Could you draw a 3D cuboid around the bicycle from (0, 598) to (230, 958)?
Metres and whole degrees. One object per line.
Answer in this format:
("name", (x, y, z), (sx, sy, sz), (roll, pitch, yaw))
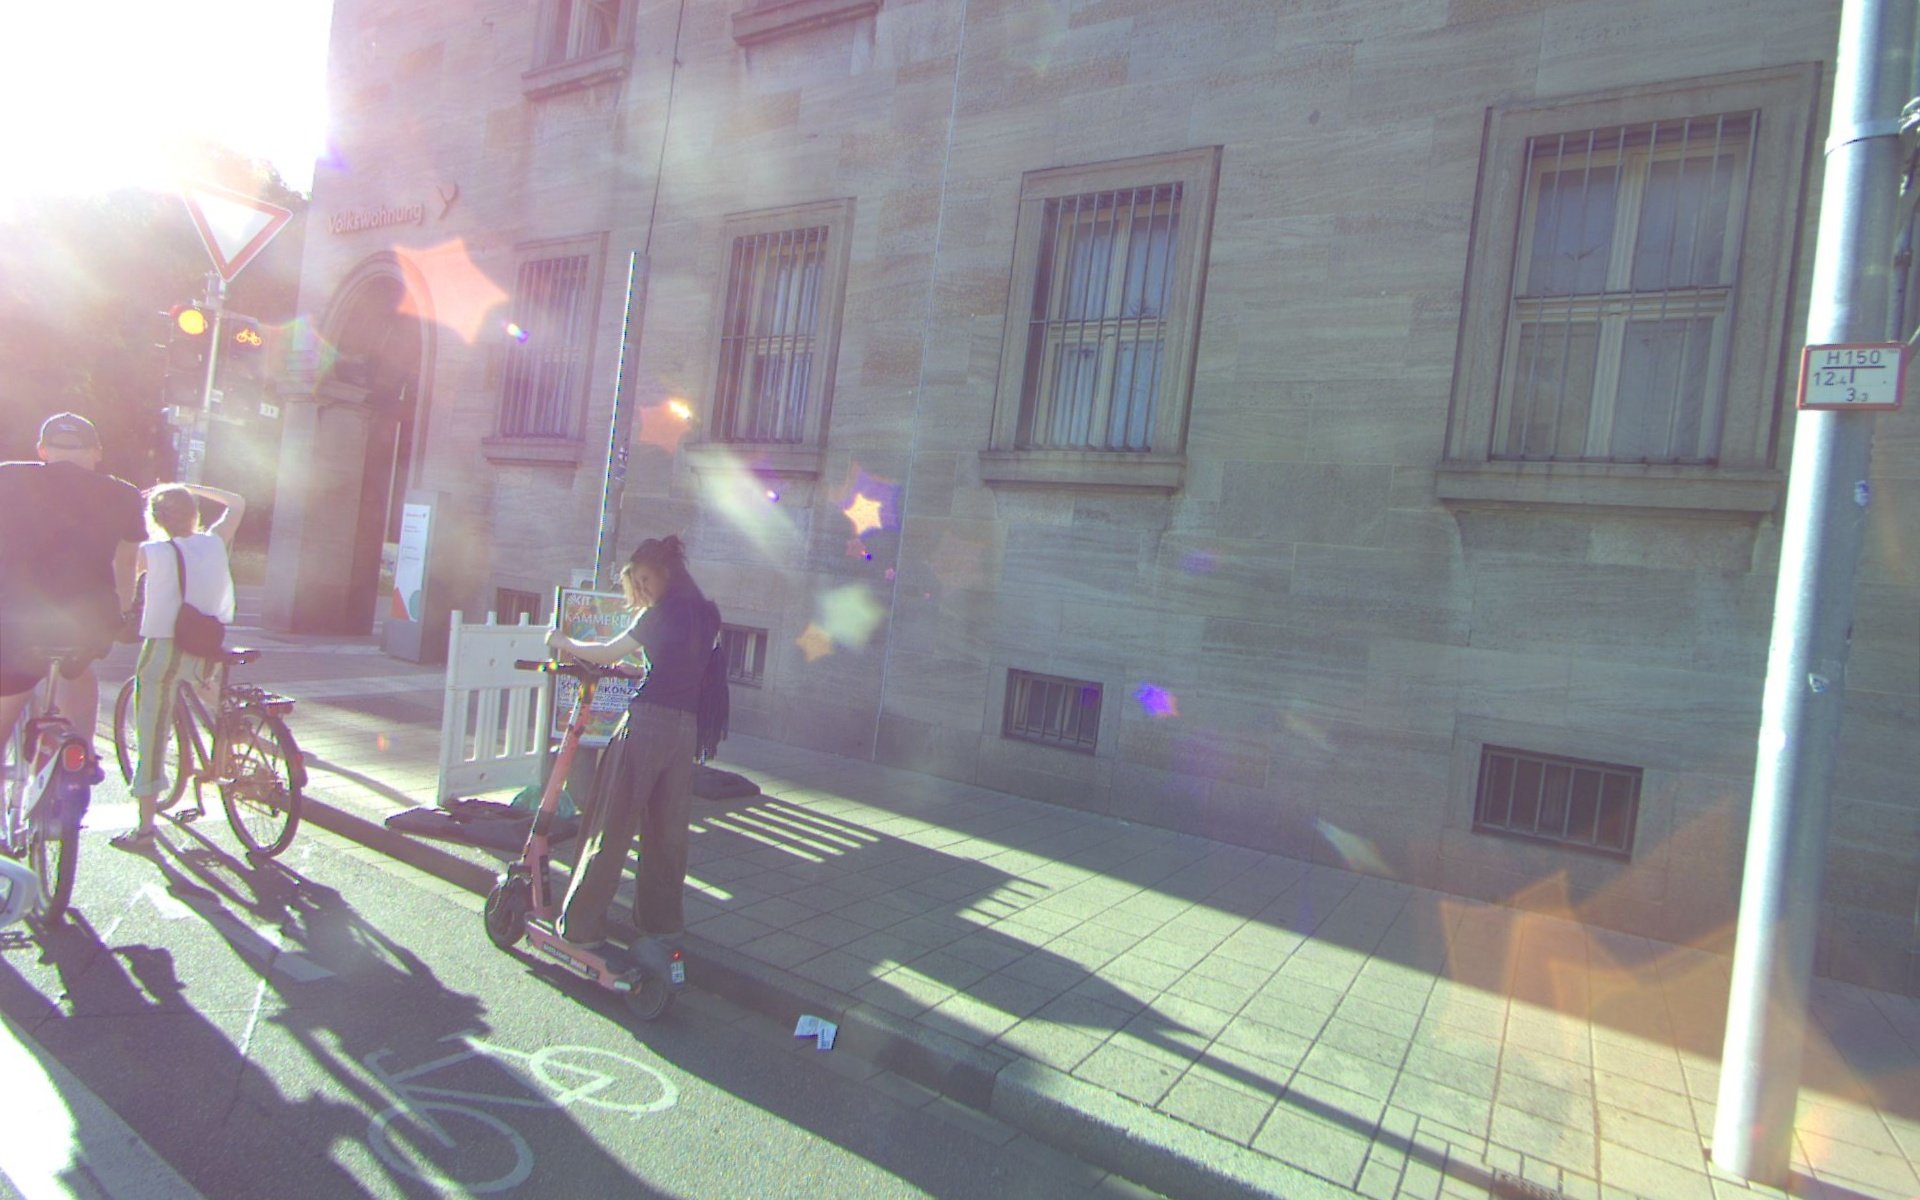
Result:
("bicycle", (-3.718, 0.593, 3.988), (1.717, 1.057, 0.624), (7, 0, 31))

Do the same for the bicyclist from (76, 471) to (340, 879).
("bicyclist", (-3.639, 0.318, 4.864), (0.934, 1.760, 0.584), (7, 0, 32))

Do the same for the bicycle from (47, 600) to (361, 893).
("bicycle", (-3.707, 0.631, 4.885), (1.718, 1.057, 0.582), (7, 0, 33))

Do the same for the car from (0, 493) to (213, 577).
("car", (-23.477, -1.748, 27.347), (1.967, 1.533, 4.586), (6, -2, 32))

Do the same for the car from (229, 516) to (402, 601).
("car", (-20.277, -1.258, 31.802), (1.968, 2.037, 3.994), (6, -2, 33))

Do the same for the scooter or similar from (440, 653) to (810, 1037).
("scooter or similar", (-1.325, 0.868, 3.955), (1.250, 1.163, 0.574), (6, -2, 29))

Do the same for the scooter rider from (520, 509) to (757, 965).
("scooter rider", (-1.243, 0.488, 3.863), (0.542, 1.581, 0.571), (7, 0, -37))

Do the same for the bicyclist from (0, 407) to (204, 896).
("bicyclist", (-3.654, 0.172, 3.982), (0.897, 1.736, 0.624), (7, 0, 31))
